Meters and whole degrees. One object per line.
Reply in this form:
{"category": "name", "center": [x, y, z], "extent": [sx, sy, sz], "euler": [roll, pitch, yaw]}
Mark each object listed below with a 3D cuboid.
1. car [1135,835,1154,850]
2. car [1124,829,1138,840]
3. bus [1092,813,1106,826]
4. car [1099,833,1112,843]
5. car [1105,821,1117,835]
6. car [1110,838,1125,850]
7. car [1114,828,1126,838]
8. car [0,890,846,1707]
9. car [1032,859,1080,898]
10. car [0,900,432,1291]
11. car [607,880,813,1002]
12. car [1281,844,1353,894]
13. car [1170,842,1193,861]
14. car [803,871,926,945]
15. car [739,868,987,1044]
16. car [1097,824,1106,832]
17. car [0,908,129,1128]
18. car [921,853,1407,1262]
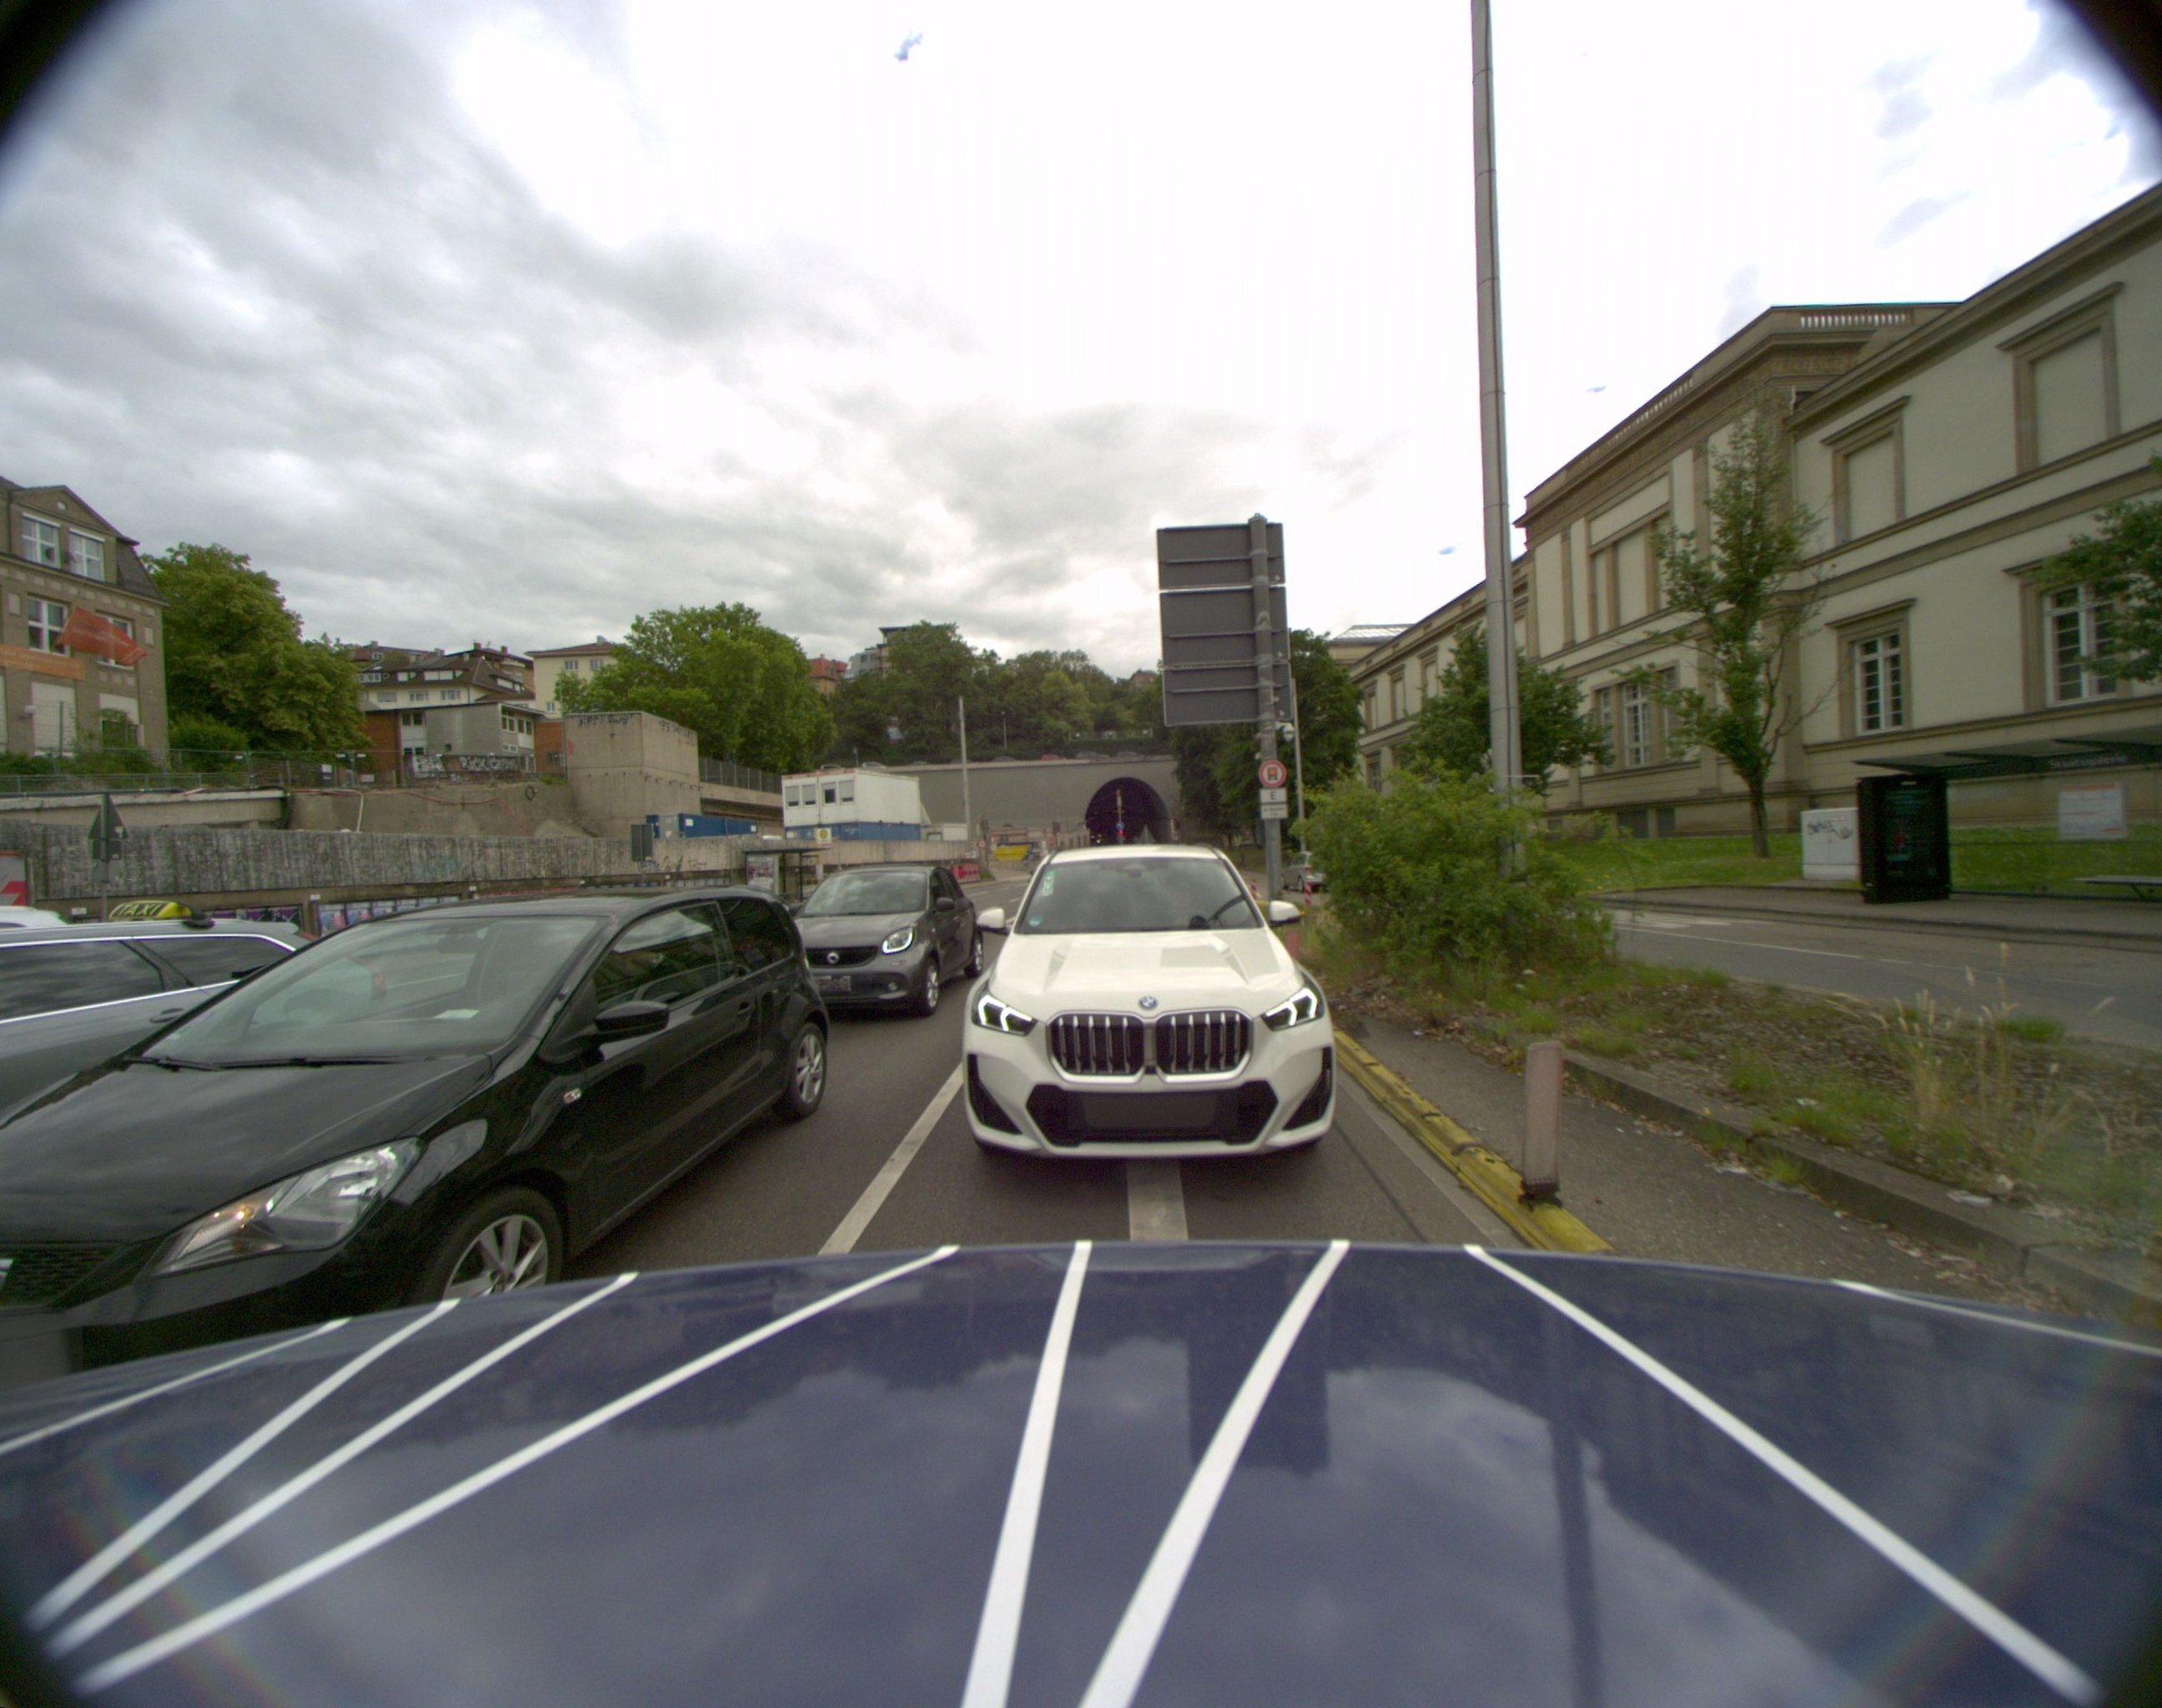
{"category": "car", "center": [7.708, -1.405, 92.295], "extent": [1.875, 1.681, 4.267], "euler": [-2, 1, 0]}
{"category": "car", "center": [7.237, -2.820, 111.043], "extent": [1.646, 1.469, 3.574], "euler": [-2, 0, -2]}
{"category": "bus", "center": [4.860, -9.479, 207.186], "extent": [3.171, 3.129, 9.118], "euler": [-2, 1, -1]}
{"category": "car", "center": [3.577, -2.342, 111.688], "extent": [1.680, 1.358, 3.806], "euler": [-2, 1, 1]}
{"category": "car", "center": [5.913, -5.138, 150.155], "extent": [2.203, 2.493, 4.758], "euler": [-2, 1, 2]}
{"category": "car", "center": [4.577, -1.216, 95.029], "extent": [1.680, 1.358, 3.806], "euler": [-2, 1, 1]}
{"category": "car", "center": [6.570, -3.554, 127.728], "extent": [1.778, 1.609, 3.802], "euler": [-2, 1, -1]}
{"category": "car", "center": [-2.576, 1.026, 3.342], "extent": [1.829, 1.450, 3.700], "euler": [-2, 1, 1]}
{"category": "car", "center": [-1.025, 1.027, 33.003], "extent": [1.680, 1.450, 3.807], "euler": [-2, 1, 3]}
{"category": "car", "center": [-5.861, 1.217, 3.302], "extent": [1.829, 1.615, 4.808], "euler": [-2, 1, 1]}
{"category": "car", "center": [-5.400, 1.203, 11.435], "extent": [1.665, 1.423, 2.714], "euler": [-2, 1, 1]}
{"category": "car", "center": [8.980, 0.524, 29.230], "extent": [1.836, 1.736, 4.001], "euler": [-2, 1, 6]}
{"category": "car", "center": [8.901, -0.203, 67.846], "extent": [1.902, 1.615, 4.109], "euler": [-2, 0, 6]}
{"category": "car", "center": [-4.924, 1.177, 17.812], "extent": [1.680, 1.358, 3.806], "euler": [-2, 1, 1]}
{"category": "car", "center": [-2.259, 0.989, 8.891], "extent": [1.720, 1.535, 3.575], "euler": [-2, 0, 2]}
{"category": "car", "center": [4.844, -6.006, 176.866], "extent": [1.946, 1.714, 4.000], "euler": [-2, 1, 4]}
{"category": "car", "center": [-9.112, 1.329, 4.444], "extent": [1.680, 1.615, 4.209], "euler": [-2, 1, 1]}
{"category": "car", "center": [0.341, 0.852, 5.029], "extent": [1.987, 1.615, 3.669], "euler": [-2, 1, -1]}
